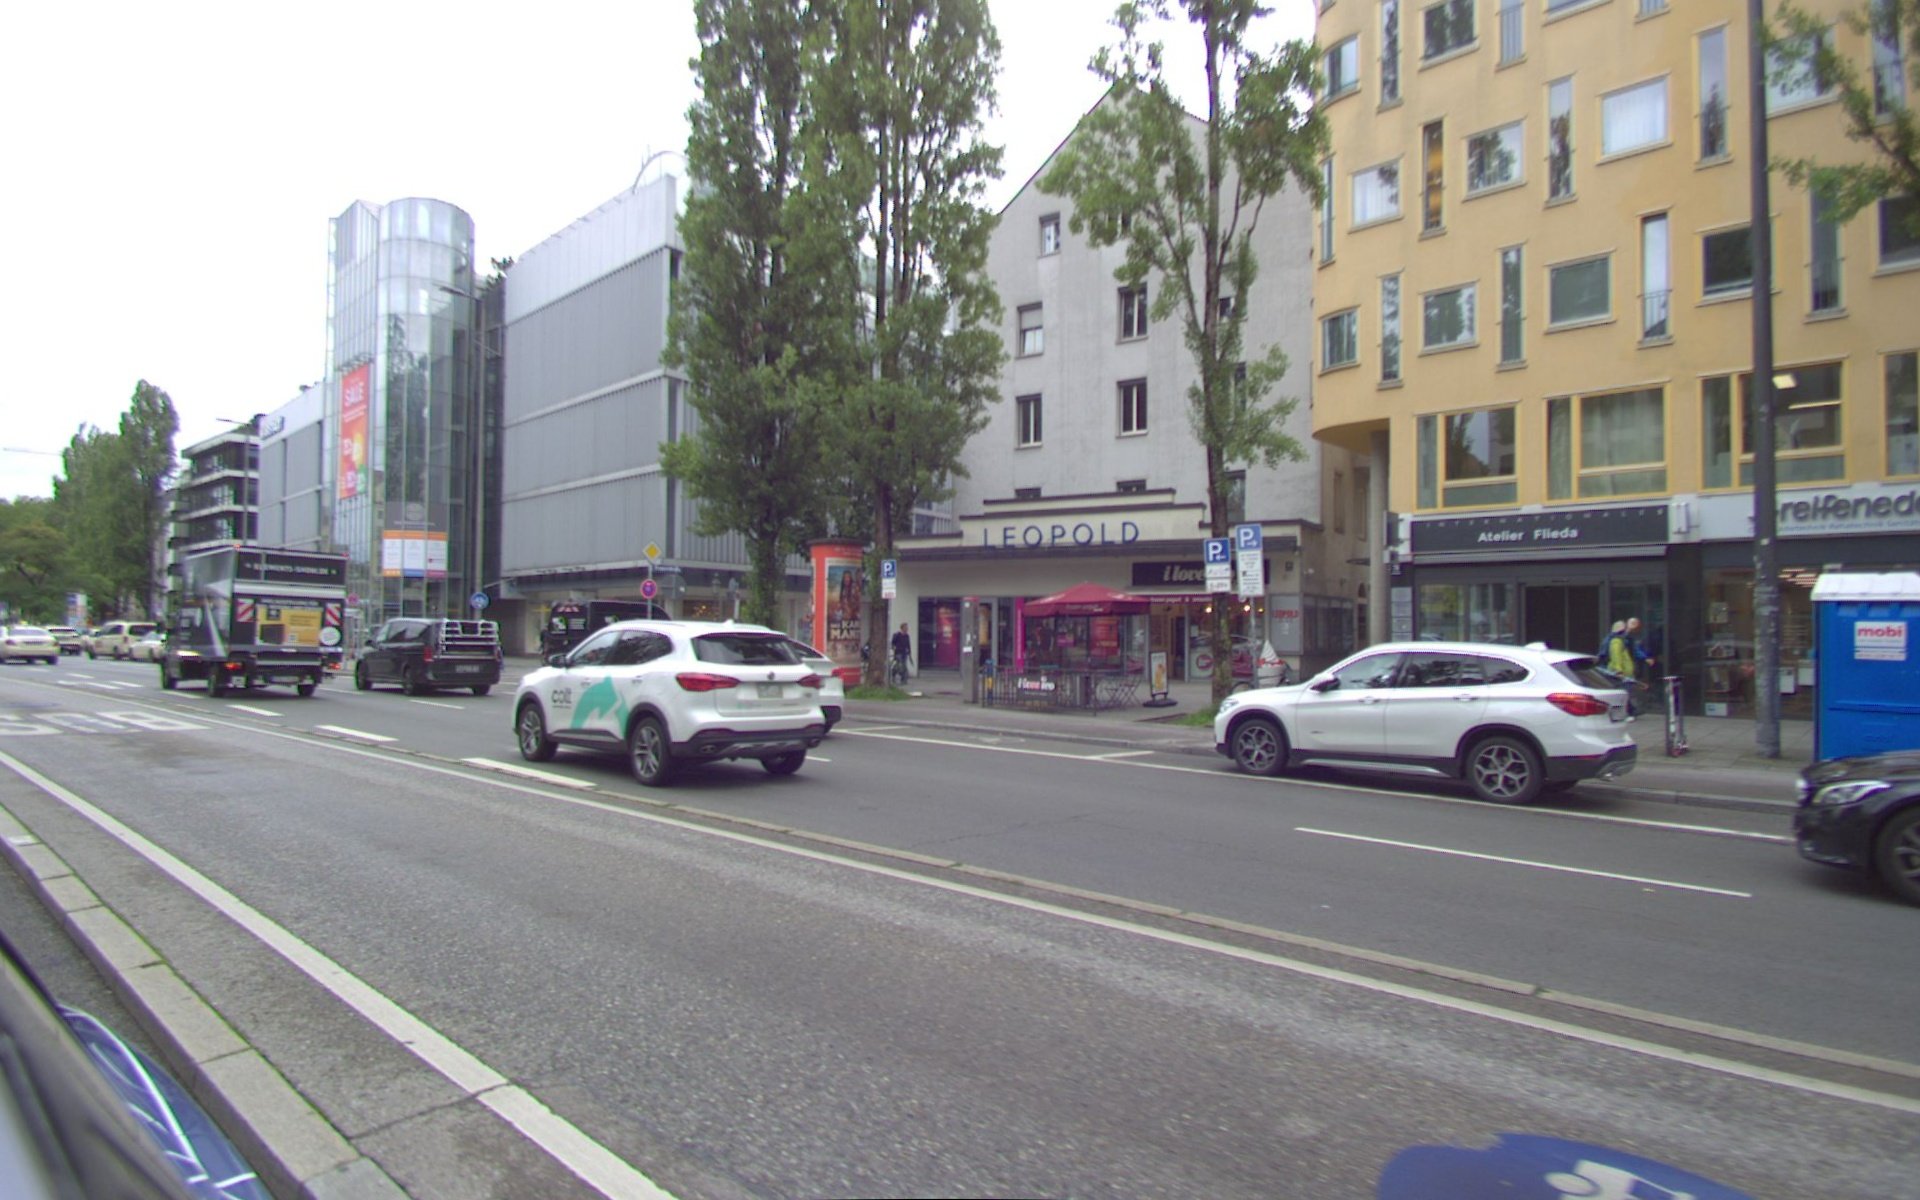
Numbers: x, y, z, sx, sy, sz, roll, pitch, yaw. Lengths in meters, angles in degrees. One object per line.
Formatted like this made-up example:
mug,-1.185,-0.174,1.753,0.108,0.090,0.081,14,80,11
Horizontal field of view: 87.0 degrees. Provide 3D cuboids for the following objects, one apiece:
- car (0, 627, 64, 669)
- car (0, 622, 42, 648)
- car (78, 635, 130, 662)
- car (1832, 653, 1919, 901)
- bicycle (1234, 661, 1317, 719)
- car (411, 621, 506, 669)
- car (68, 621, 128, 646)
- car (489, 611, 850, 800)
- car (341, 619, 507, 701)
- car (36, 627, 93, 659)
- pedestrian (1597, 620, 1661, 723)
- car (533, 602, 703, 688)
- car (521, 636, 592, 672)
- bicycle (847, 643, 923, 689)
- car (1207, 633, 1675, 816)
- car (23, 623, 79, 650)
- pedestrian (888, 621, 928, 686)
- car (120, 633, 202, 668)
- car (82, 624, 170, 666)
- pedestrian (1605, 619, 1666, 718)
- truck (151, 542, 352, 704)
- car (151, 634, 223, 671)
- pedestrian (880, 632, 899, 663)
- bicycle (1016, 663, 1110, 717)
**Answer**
car,-38.203,1.922,40.885,5.187,1.601,1.975,-1,-4,38
car,-61.339,2.281,65.493,4.460,1.624,1.575,-1,-3,31
car,-52.877,2.979,62.492,3.996,1.548,1.734,-1,-3,40
car,7.658,1.039,5.315,4.540,1.445,1.917,-2,-3,45
bicycle,5.737,1.620,18.480,1.479,0.983,0.289,-2,-3,45
car,-22.303,1.990,44.921,5.109,2.029,1.973,-2,-3,41
car,-56.861,2.207,66.751,3.988,1.579,1.891,-1,-3,33
car,-3.445,1.057,11.488,4.536,1.724,1.840,-2,-4,43
car,-13.816,1.500,25.900,5.712,1.878,1.971,-2,-5,44
car,-51.027,2.445,57.636,4.382,1.711,1.865,-2,-4,42
pedestrian,11.134,1.155,16.840,0.763,1.638,0.830,-1,-1,42
car,-11.361,1.491,34.265,2.161,2.625,6.023,0,-2,20
car,-17.289,2.264,43.241,1.896,1.450,4.519,2,-3,-34
bicycle,-2.255,1.949,30.223,2.299,1.318,0.839,-1,-3,37
car,5.230,1.217,11.464,1.970,1.642,4.384,3,-3,-44
car,-55.201,2.221,61.451,4.845,1.552,1.926,-2,-3,41
pedestrian,-1.577,1.622,30.833,0.831,1.913,0.849,-1,-3,37
car,-37.523,2.328,47.493,5.080,1.564,1.958,-1,-3,39
car,-41.830,2.235,50.725,5.308,2.029,1.977,-1,-3,34
pedestrian,11.711,1.158,17.540,0.763,1.638,0.830,-1,-1,42
truck,-17.058,0.587,24.150,7.155,3.348,2.266,-2,-4,42
car,-32.987,2.213,43.139,1.835,1.481,4.986,5,-5,-43
pedestrian,-3.922,2.628,56.212,0.750,1.685,0.709,-1,-3,29
bicycle,2.005,1.748,19.887,1.878,0.971,0.454,-1,-3,38
